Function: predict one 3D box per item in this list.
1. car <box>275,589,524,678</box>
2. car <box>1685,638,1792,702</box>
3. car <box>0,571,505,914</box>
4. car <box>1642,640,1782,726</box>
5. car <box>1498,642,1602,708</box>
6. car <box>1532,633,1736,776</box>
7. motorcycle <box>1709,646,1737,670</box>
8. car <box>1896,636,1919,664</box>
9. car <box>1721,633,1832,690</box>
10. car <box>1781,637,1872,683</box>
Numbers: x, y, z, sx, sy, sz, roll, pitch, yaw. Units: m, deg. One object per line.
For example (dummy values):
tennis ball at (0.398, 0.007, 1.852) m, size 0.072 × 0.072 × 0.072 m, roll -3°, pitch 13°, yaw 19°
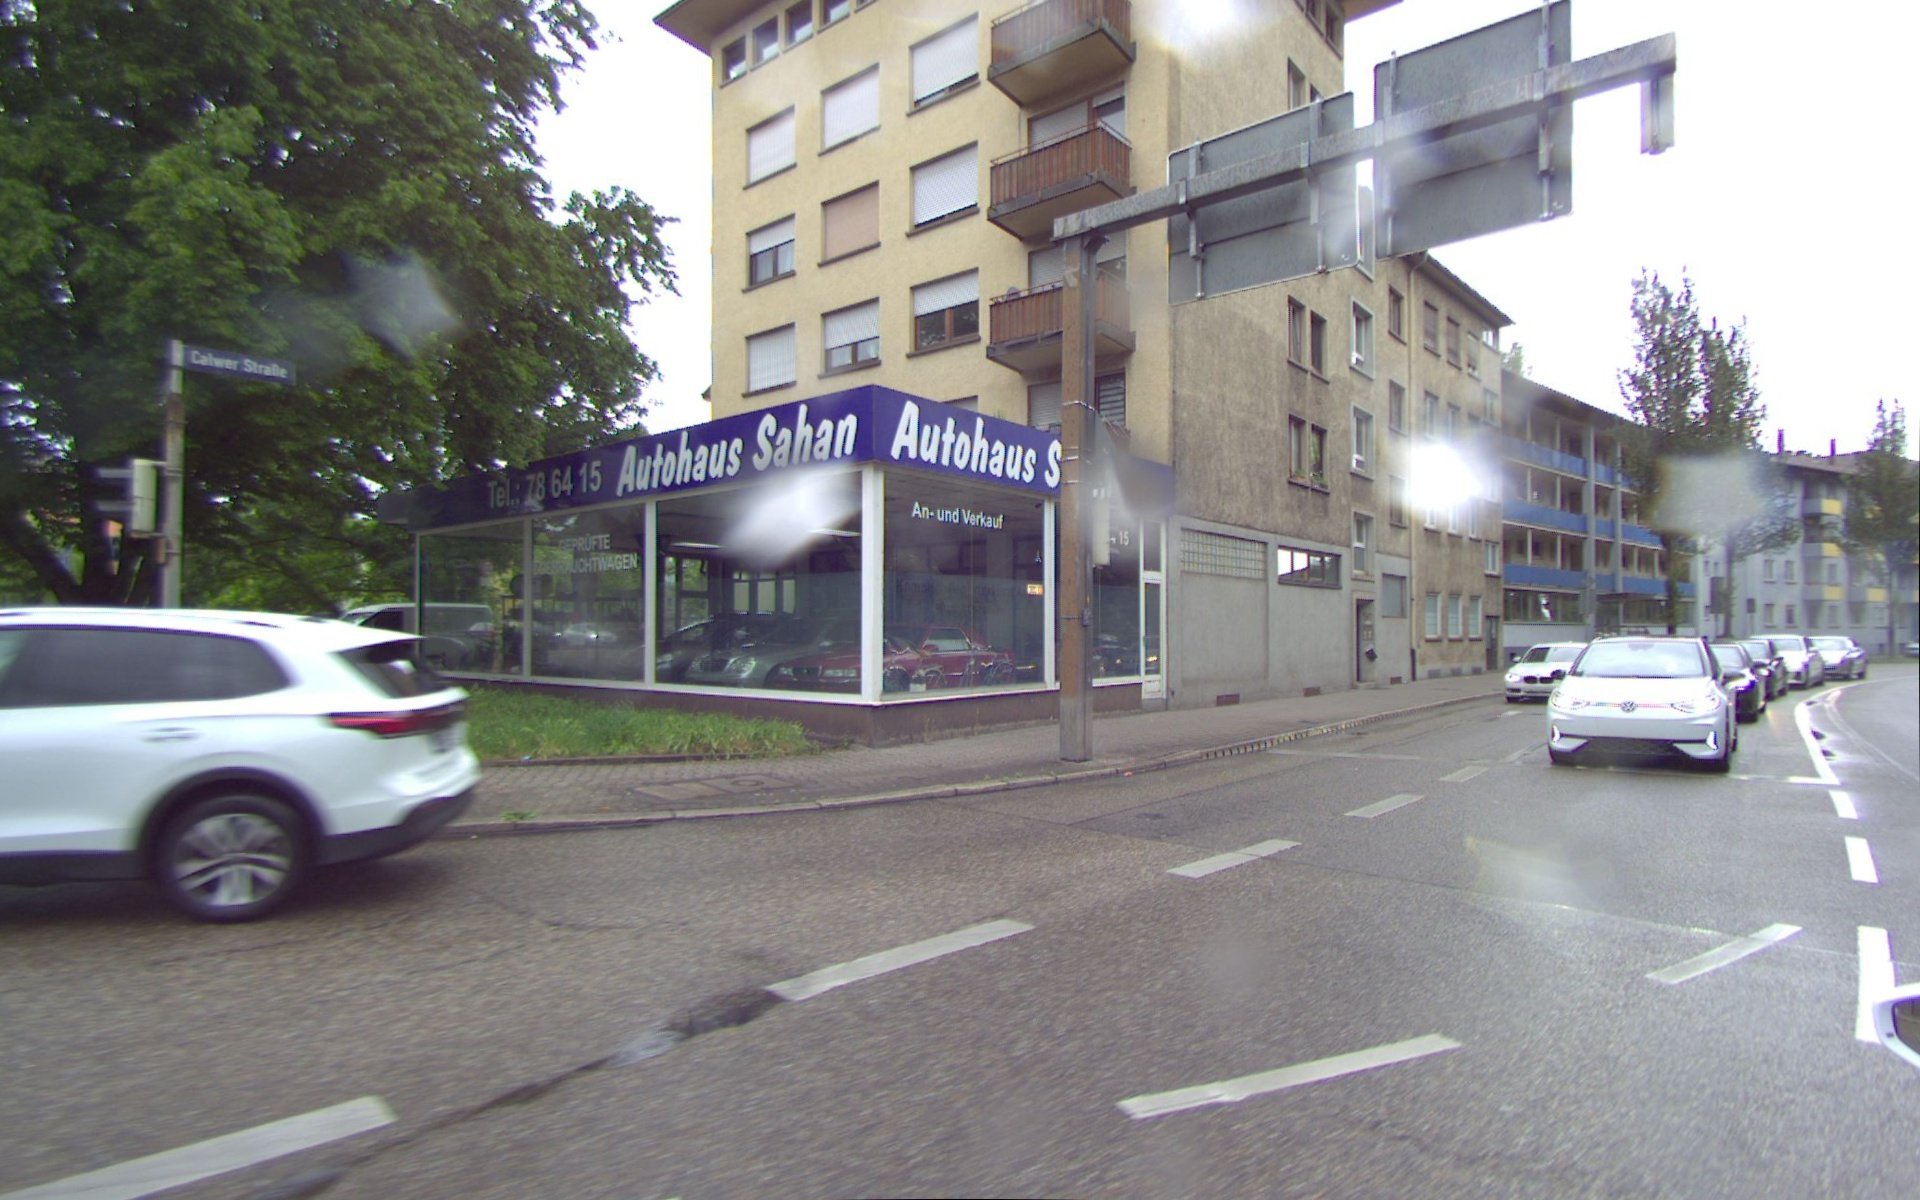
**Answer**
car at (-12.983, 0.768, 23.560) m, size 1.949 × 1.854 × 4.729 m, roll -1°, pitch -2°, yaw 35°
car at (19.525, 1.702, 25.141) m, size 1.662 × 1.466 × 3.797 m, roll -3°, pitch -3°, yaw 44°
car at (-5.172, 0.725, 5.797) m, size 4.401 × 1.693 × 1.838 m, roll 1°, pitch -1°, yaw -17°
car at (14.450, 1.490, 19.196) m, size 1.770 × 1.425 × 4.601 m, roll -2°, pitch -3°, yaw 41°
car at (14.716, 1.809, 24.980) m, size 1.638 × 1.474 × 3.983 m, roll -3°, pitch -3°, yaw 39°
car at (8.732, 1.192, 12.857) m, size 1.764 × 1.515 × 4.197 m, roll -3°, pitch -3°, yaw 39°
motorcycle at (43.442, 3.273, 57.155) m, size 2.216 × 1.271 × 0.670 m, roll 1°, pitch 0°, yaw -37°
car at (58.567, 3.015, 60.748) m, size 4.482 × 1.625 × 1.755 m, roll 1°, pitch -3°, yaw -32°
car at (23.916, 1.751, 29.340) m, size 4.992 × 1.536 × 1.803 m, roll 2°, pitch -3°, yaw -43°
car at (29.556, 1.986, 34.213) m, size 4.501 × 1.444 × 1.737 m, roll 1°, pitch -2°, yaw -41°
